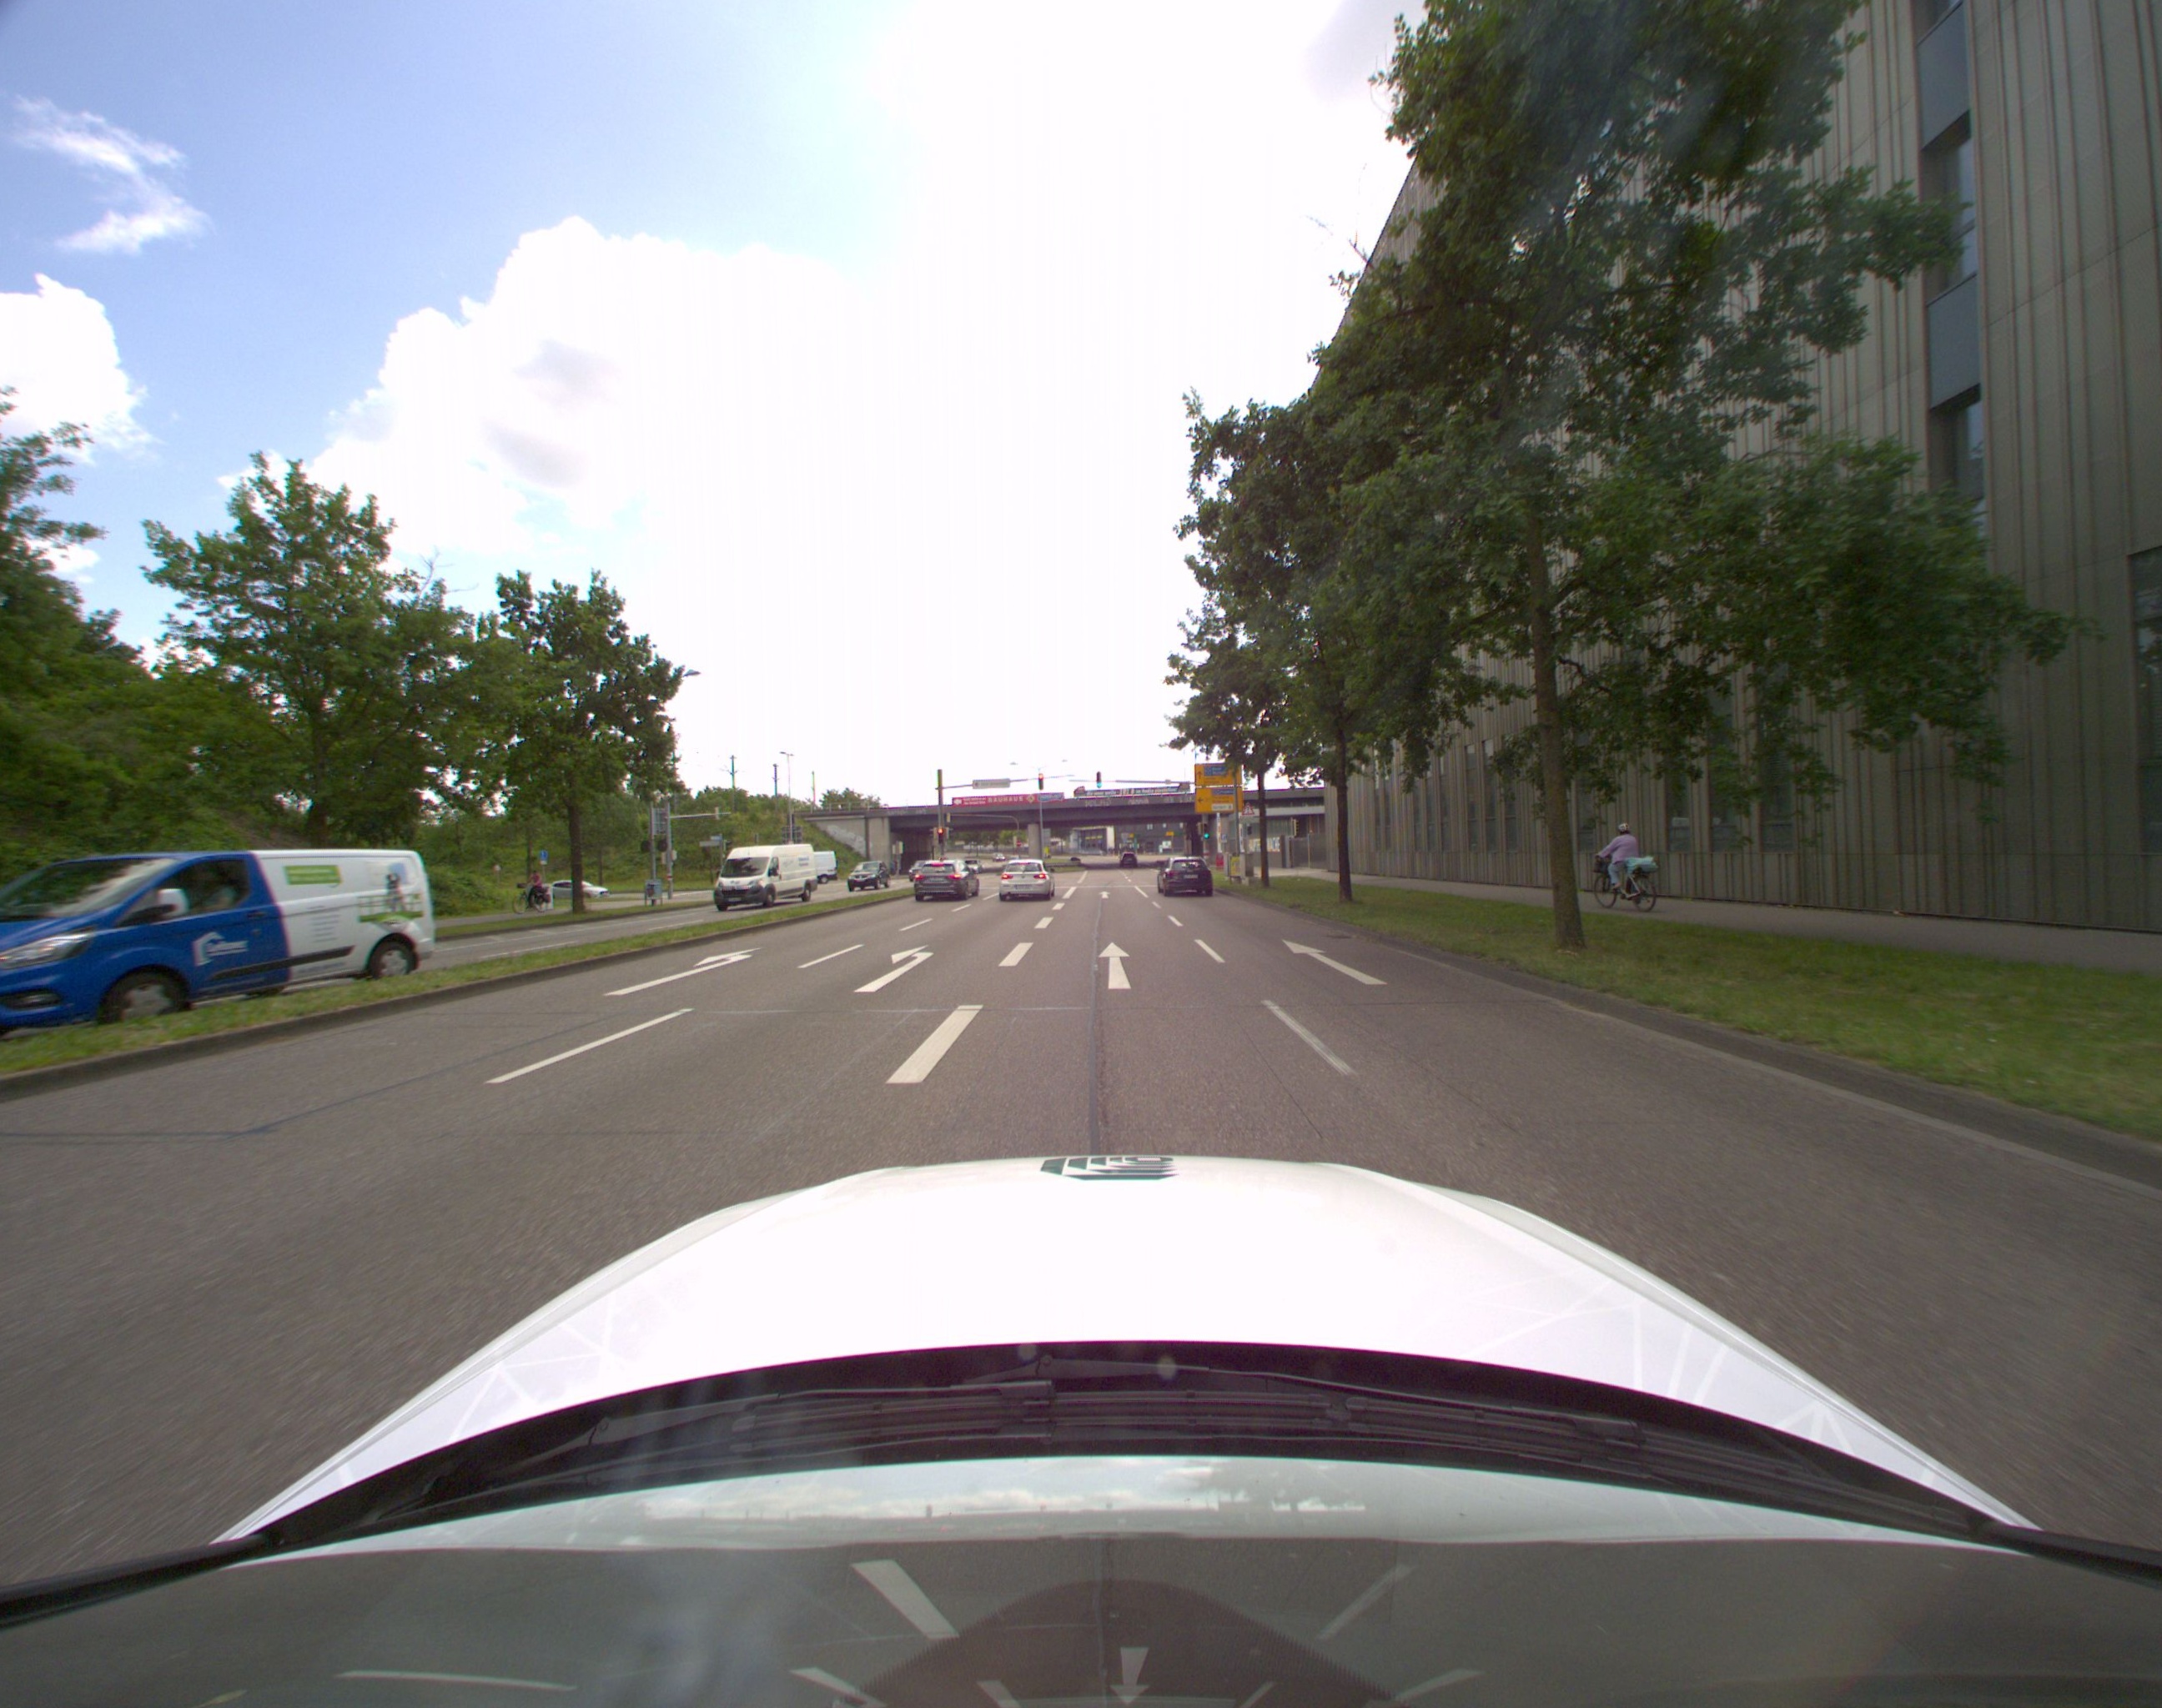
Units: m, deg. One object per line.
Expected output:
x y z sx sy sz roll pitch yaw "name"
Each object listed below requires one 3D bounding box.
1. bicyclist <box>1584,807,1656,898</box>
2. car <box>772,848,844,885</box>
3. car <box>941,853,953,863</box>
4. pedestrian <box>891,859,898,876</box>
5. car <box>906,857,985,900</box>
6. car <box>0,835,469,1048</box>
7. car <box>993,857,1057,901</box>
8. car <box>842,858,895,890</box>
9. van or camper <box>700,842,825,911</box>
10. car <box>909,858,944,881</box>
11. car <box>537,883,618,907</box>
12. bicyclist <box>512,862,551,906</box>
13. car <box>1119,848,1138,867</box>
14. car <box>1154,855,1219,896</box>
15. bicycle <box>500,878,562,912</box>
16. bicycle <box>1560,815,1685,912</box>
10.860 -0.029 16.427 0.713 1.769 0.988 -2 0 -2 "bicyclist"
-22.861 1.021 68.213 5.424 2.822 2.367 -2 0 -25 "car"
-29.469 0.820 179.225 1.987 2.013 4.336 -2 0 0 "car"
-19.606 1.409 85.765 0.589 1.681 0.556 -2 0 -1 "pedestrian"
-4.925 0.857 30.259 1.986 1.415 4.833 -1 0 1 "car"
-10.737 0.849 10.160 2.183 1.964 5.193 -2 0 0 "car"
-1.952 0.851 29.626 1.908 1.415 4.296 1 0 1 "car"
-12.802 1.187 49.360 1.987 1.766 4.220 -2 0 1 "car"
-13.017 0.823 33.981 2.344 2.539 7.064 -1 0 0 "van or camper"
-12.013 1.170 63.569 1.799 1.632 4.393 -2 0 1 "car"
-33.977 2.761 54.988 4.285 1.379 2.004 -2 0 7 "car"
-22.332 1.207 33.115 0.888 1.747 0.998 -1 -1 4 "bicyclist"
5.479 0.366 94.123 1.986 2.037 4.715 -2 0 2 "car"
3.921 0.763 31.070 1.986 1.390 4.577 -1 1 1 "car"
-22.342 1.635 33.146 0.818 1.270 2.395 -1 0 3 "bicycle"
10.867 0.182 16.489 0.718 1.774 2.531 -2 0 -2 "bicycle"
